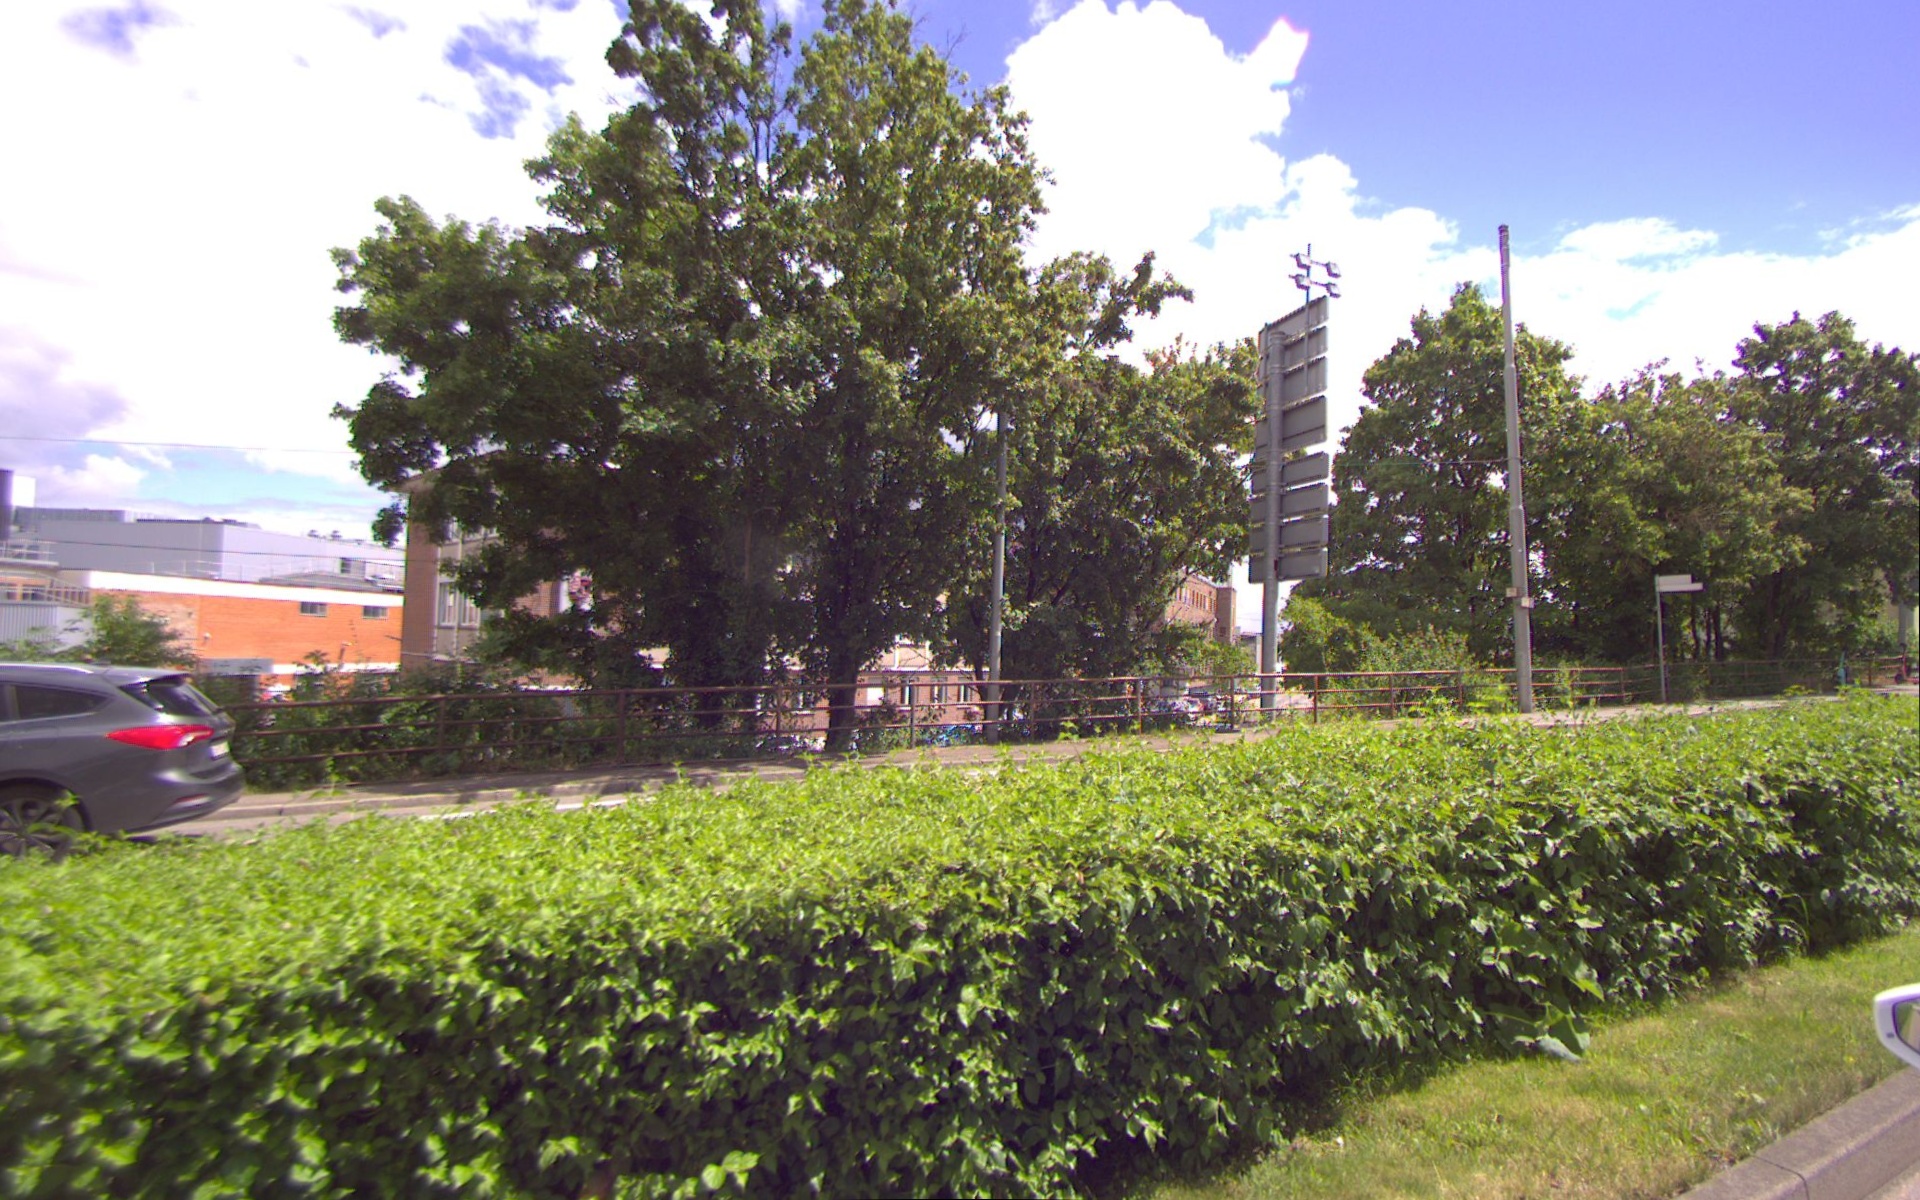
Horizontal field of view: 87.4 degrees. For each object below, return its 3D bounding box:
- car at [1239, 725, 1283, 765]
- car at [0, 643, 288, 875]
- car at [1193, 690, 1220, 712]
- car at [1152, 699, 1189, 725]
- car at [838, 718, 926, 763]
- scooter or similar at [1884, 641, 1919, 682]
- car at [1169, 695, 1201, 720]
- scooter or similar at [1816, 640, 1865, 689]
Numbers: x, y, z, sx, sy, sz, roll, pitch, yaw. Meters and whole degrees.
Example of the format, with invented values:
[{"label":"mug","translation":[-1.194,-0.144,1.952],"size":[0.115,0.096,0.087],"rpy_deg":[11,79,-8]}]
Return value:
[{"label":"car","translation":[14.810,7.066,49.347],"size":[1.687,1.547,3.761],"rpy_deg":[-1,-2,22]},{"label":"car","translation":[-7.596,1.070,7.079],"size":[4.502,1.527,1.833],"rpy_deg":[1,-2,-27]},{"label":"car","translation":[20.235,8.258,82.398],"size":[1.686,1.547,3.761],"rpy_deg":[-1,-2,22]},{"label":"car","translation":[14.566,7.716,69.446],"size":[1.687,1.547,3.760],"rpy_deg":[-1,-2,24]},{"label":"car","translation":[-3.339,6.038,43.412],"size":[1.694,1.547,3.745],"rpy_deg":[-2,-3,40]},{"label":"scooter or similar","translation":[28.809,1.867,30.579],"size":[1.623,1.232,0.489],"rpy_deg":[1,-2,-29]},{"label":"car","translation":[16.605,7.896,74.013],"size":[1.687,1.547,3.761],"rpy_deg":[-1,-2,23]},{"label":"scooter or similar","translation":[24.318,1.771,27.747],"size":[1.623,1.322,0.489],"rpy_deg":[1,0,-29]}]
